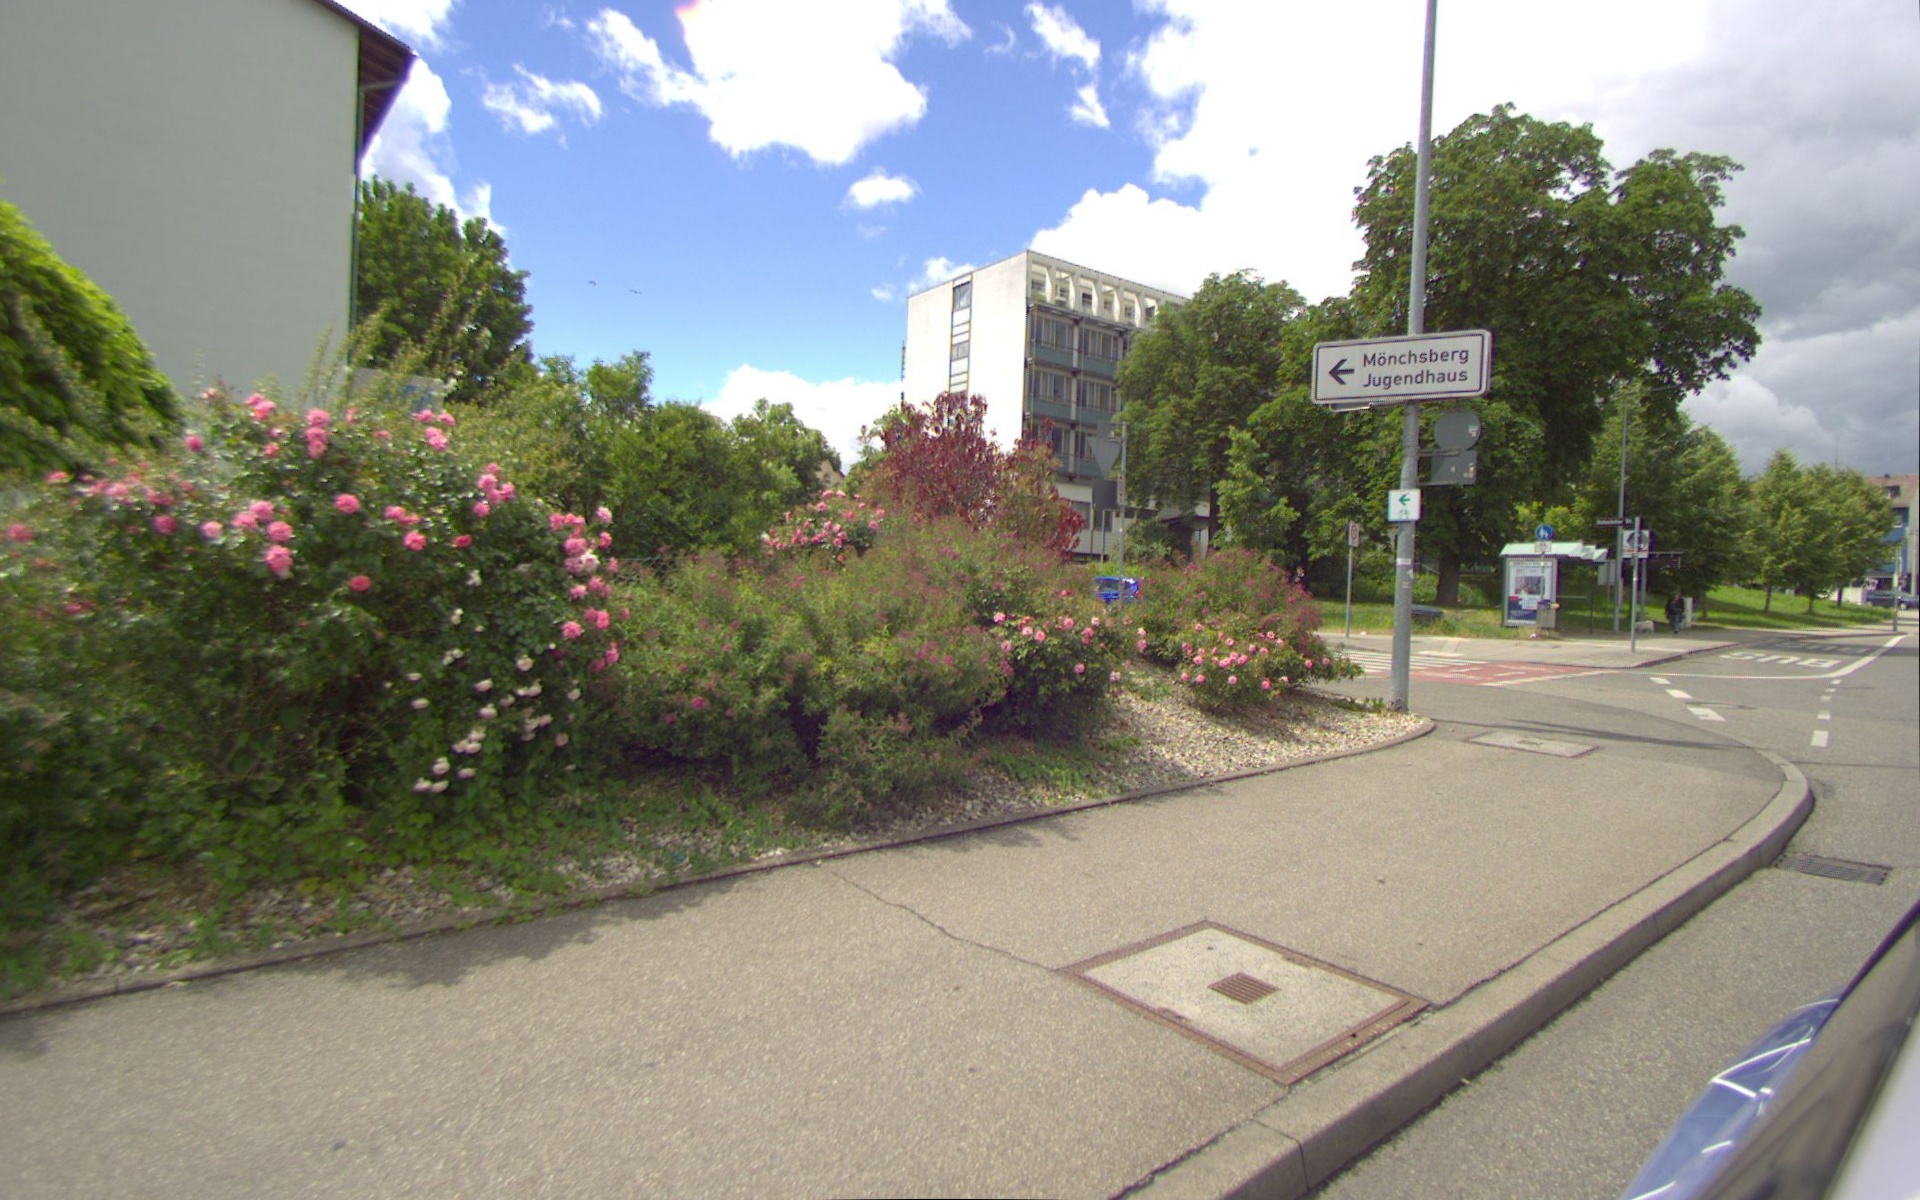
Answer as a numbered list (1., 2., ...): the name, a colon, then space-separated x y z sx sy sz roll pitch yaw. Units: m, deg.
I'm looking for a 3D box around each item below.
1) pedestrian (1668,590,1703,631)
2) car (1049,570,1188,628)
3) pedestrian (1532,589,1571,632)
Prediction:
1. pedestrian: 26.412 0.367 36.835 0.815 1.442 0.821 0 2 -39
2. car: 4.760 -0.050 30.747 1.863 1.474 3.801 3 2 -41
3. pedestrian: 18.284 0.331 31.281 0.673 1.274 0.830 1 1 -36
